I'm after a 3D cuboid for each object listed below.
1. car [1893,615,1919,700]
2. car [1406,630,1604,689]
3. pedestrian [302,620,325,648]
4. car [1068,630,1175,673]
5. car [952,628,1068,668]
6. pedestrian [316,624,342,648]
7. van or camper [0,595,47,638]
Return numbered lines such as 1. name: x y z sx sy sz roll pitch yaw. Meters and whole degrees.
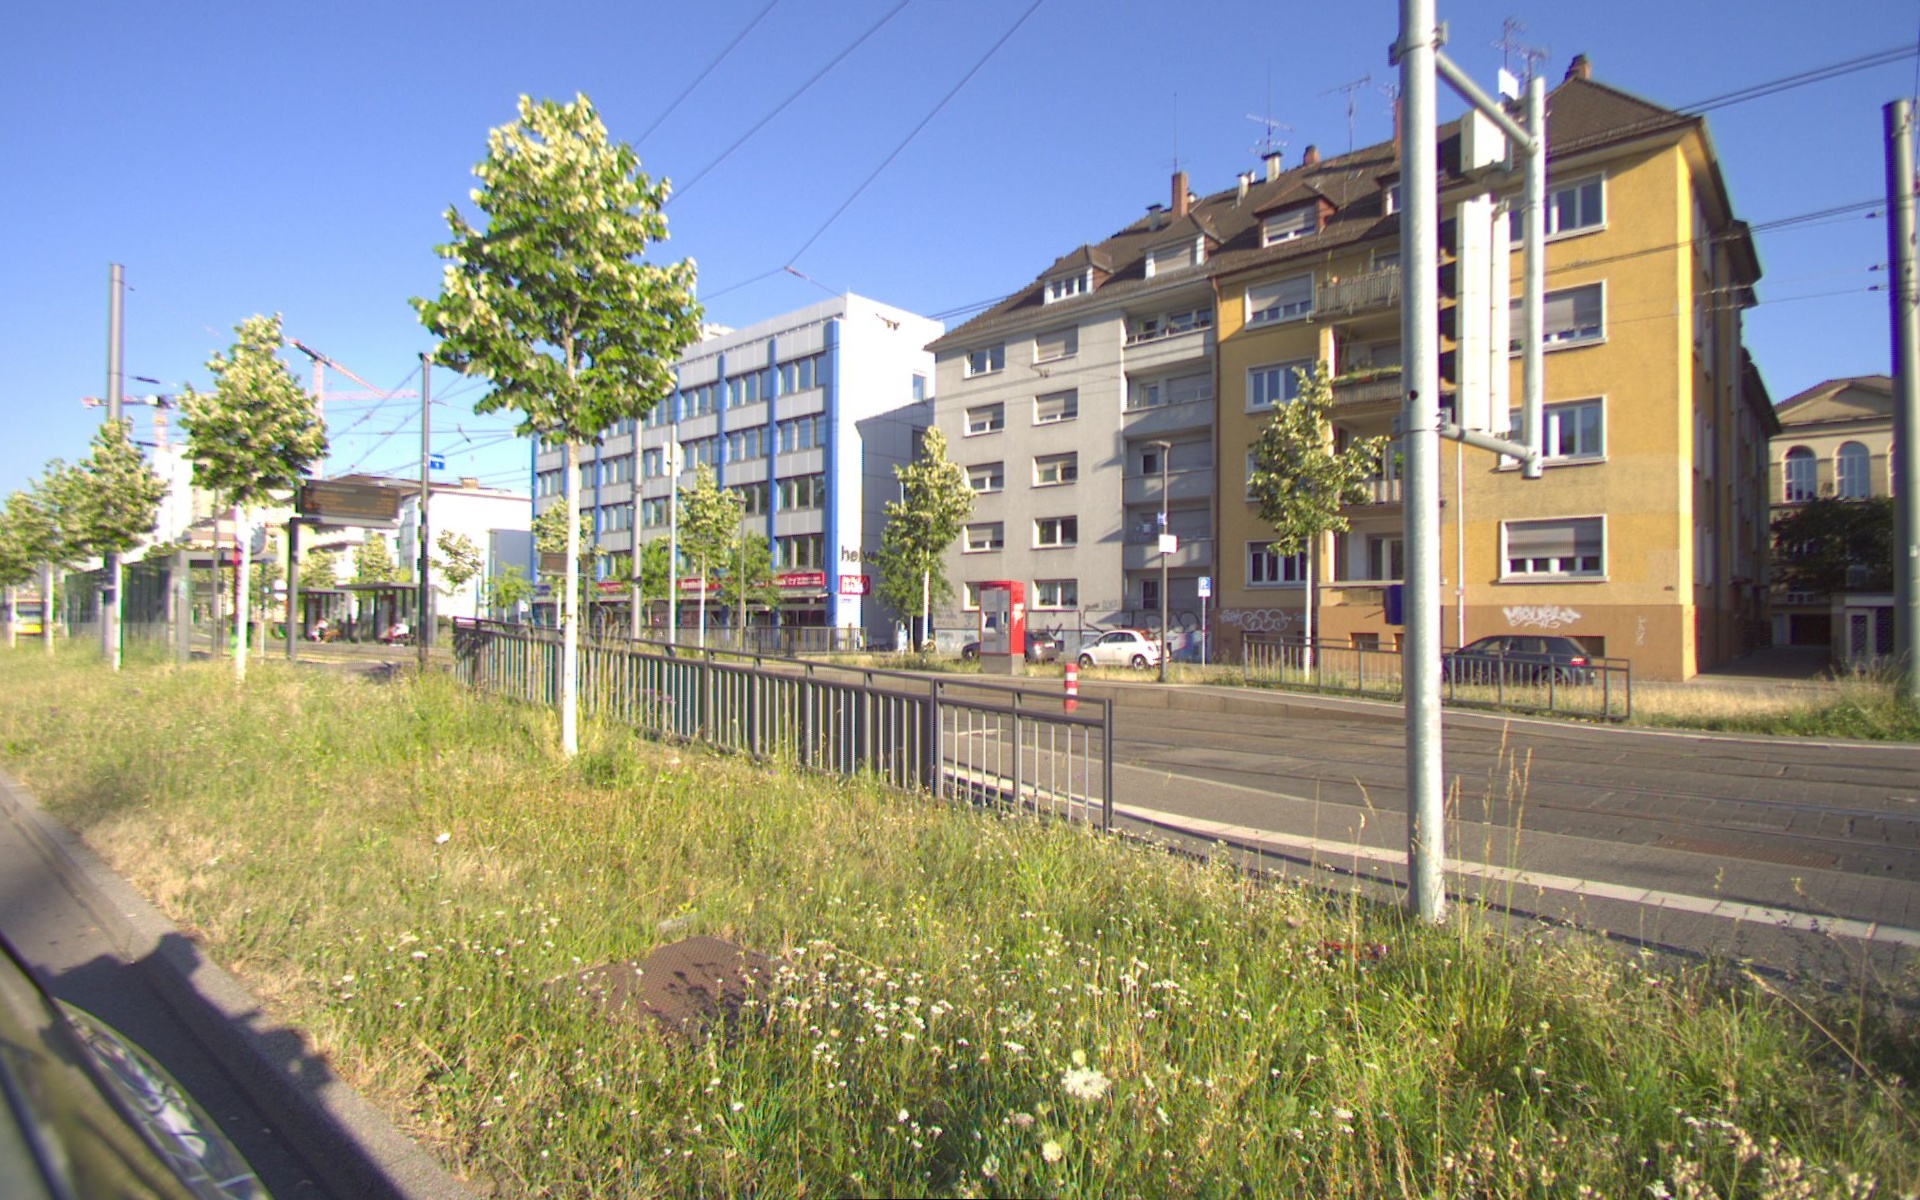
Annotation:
1. car: 20.243 1.063 18.326 1.970 1.608 4.784 2 -2 -43
2. car: 13.282 1.402 24.792 3.996 1.298 1.823 -1 -2 40
3. pedestrian: -33.653 1.770 52.682 0.803 1.421 0.829 -1 -2 41
4. car: 5.932 1.860 37.316 3.551 1.497 1.729 -1 -2 41
5. car: 1.980 1.905 40.875 4.429 1.519 1.973 -1 -2 41
6. pedestrian: -31.762 1.802 50.937 0.764 1.206 0.924 -1 -2 41
7. van or camper: -73.557 1.330 79.362 7.479 3.192 2.476 -1 -2 45
